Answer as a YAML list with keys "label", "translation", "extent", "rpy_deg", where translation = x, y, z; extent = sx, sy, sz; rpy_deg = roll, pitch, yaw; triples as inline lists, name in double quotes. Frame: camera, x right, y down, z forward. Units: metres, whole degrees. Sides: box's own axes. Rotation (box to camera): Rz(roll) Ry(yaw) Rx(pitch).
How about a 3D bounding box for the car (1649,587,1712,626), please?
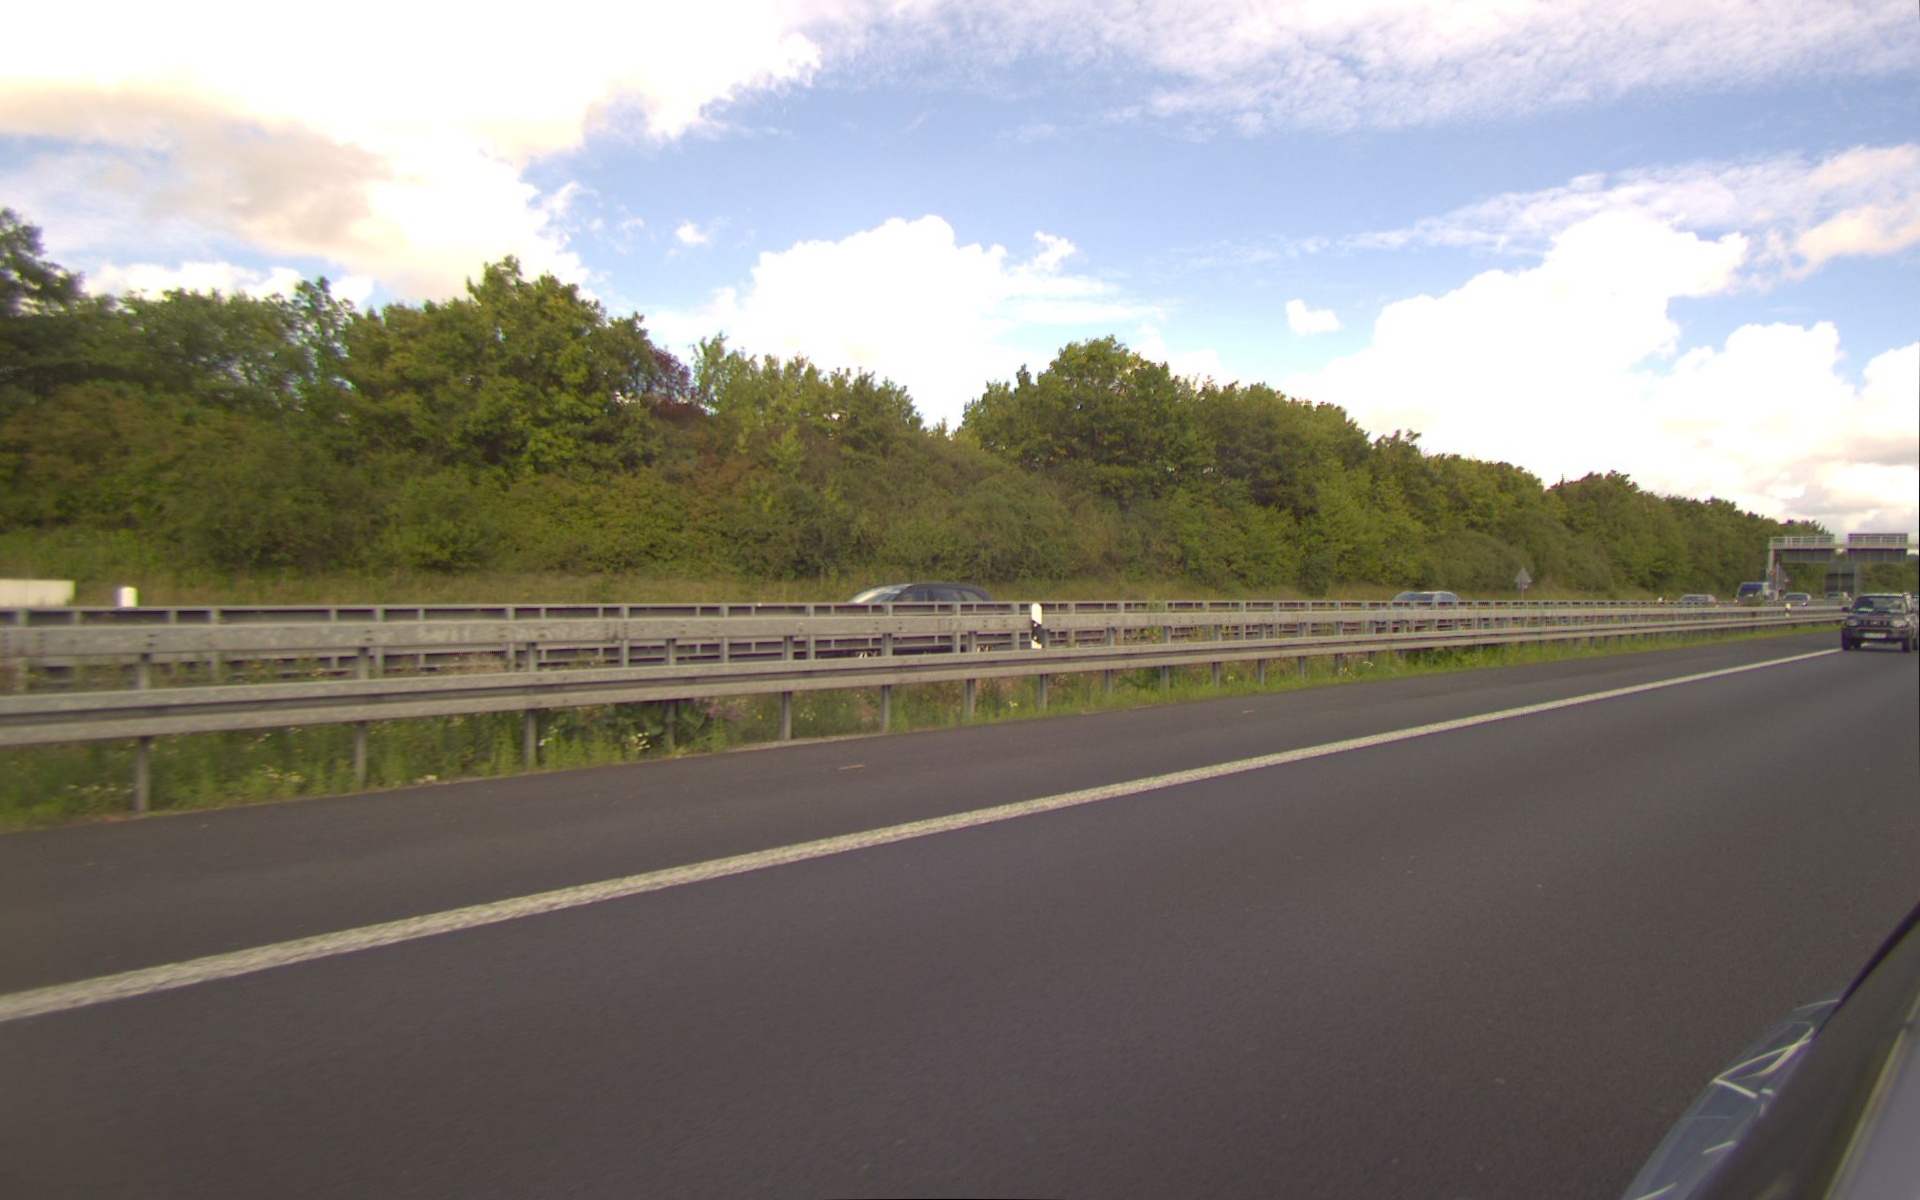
- label: "car"
  translation: [41.045, 0.336, 57.639]
  extent: [3.930, 2.038, 1.998]
  rpy_deg: [0, 3, -41]

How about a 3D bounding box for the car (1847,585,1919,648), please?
- label: "car"
  translation: [28.487, 0.458, 30.742]
  extent: [4.132, 1.754, 1.670]
  rpy_deg: [0, 2, -40]

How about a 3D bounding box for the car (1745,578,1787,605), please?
- label: "car"
  translation: [67.772, -0.717, 85.074]
  extent: [5.041, 2.212, 1.996]
  rpy_deg: [-1, 2, -42]

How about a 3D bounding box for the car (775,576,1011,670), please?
- label: "car"
  translation: [-1.157, 0.342, 18.501]
  extent: [3.932, 1.503, 1.996]
  rpy_deg: [-1, 2, -42]

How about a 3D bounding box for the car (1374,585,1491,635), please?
- label: "car"
  translation: [15.562, 0.278, 33.263]
  extent: [4.237, 1.503, 1.996]
  rpy_deg: [-1, 2, -42]
